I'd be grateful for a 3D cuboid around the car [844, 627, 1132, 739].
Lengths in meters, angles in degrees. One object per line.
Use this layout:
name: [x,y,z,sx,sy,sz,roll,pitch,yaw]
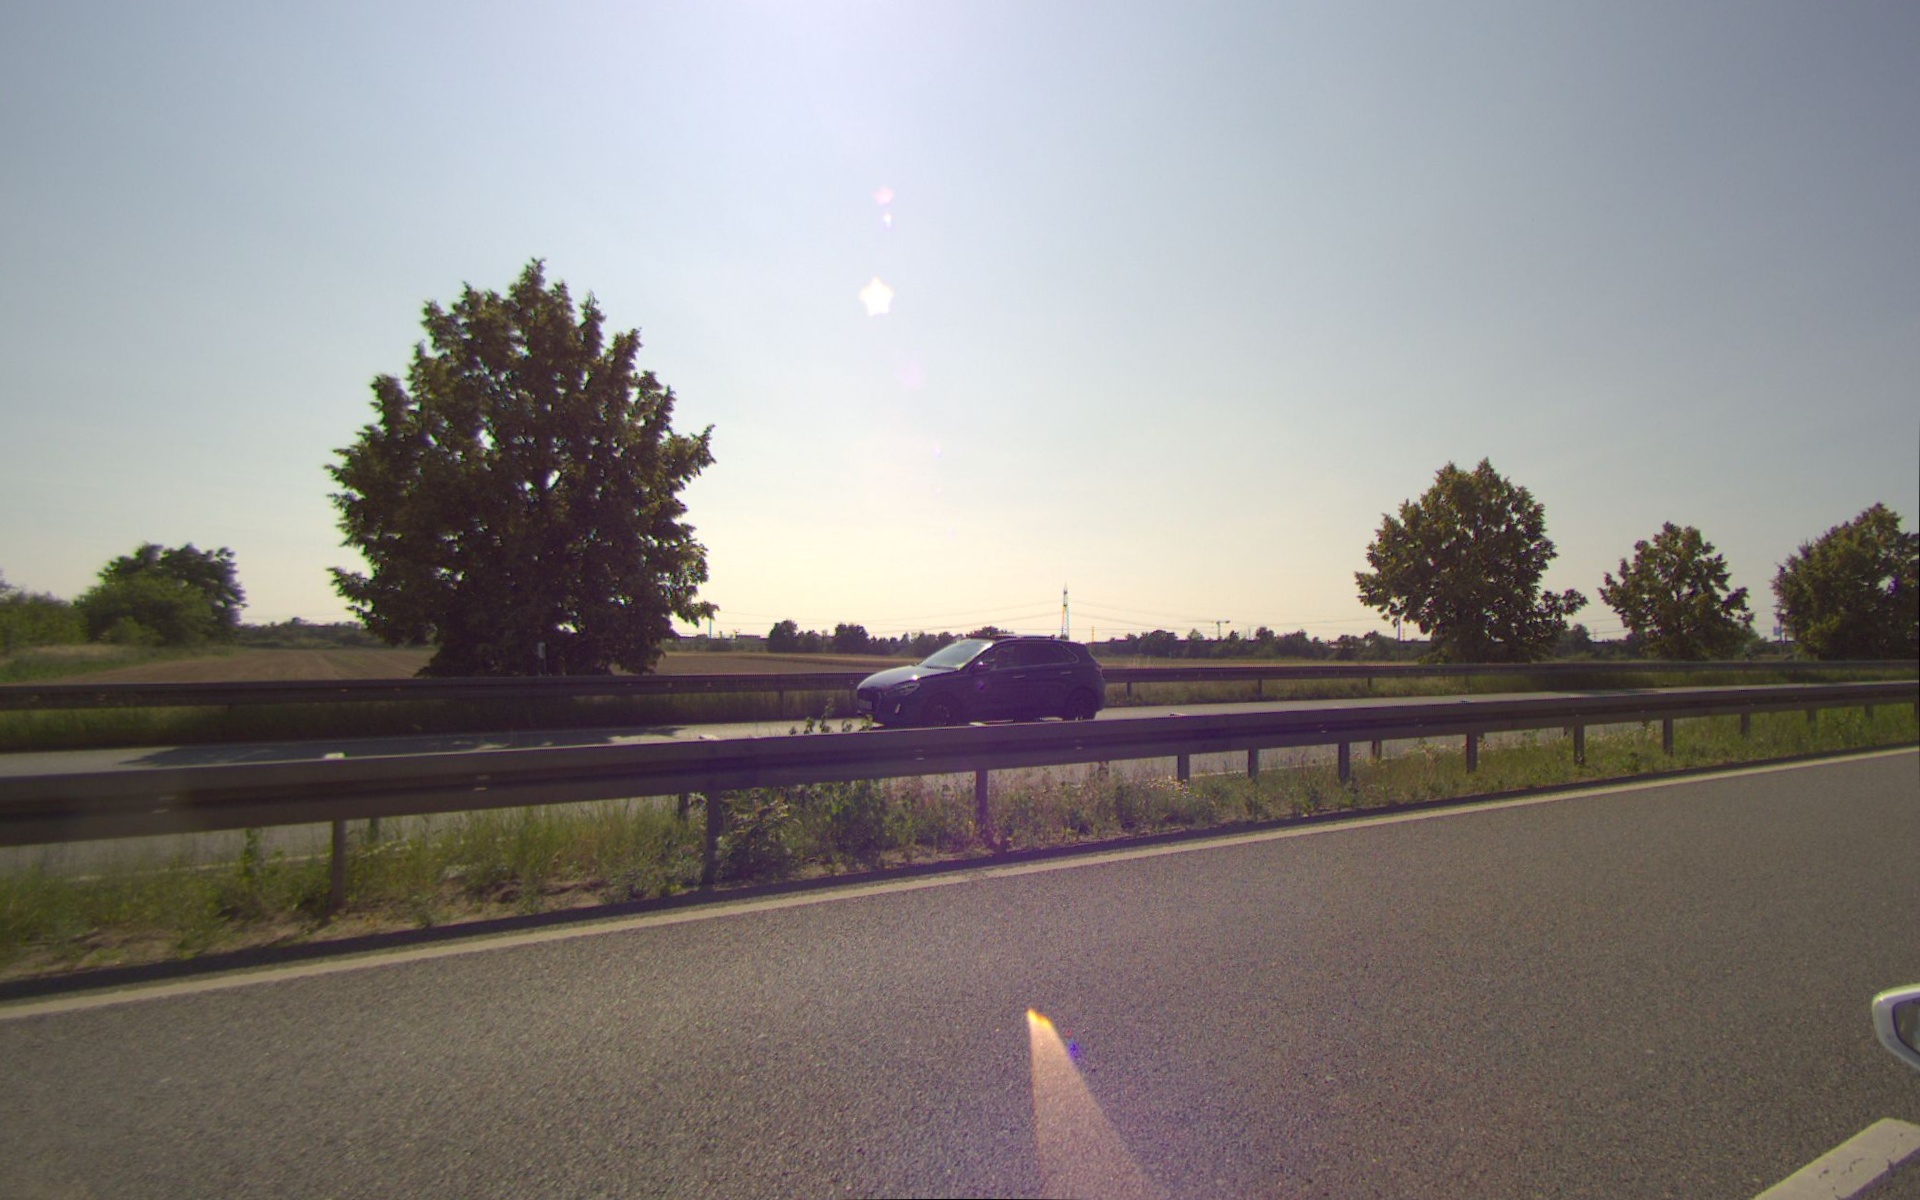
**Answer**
car: [0.519,1.271,16.438,4.507,1.574,1.644,1,0,-30]
